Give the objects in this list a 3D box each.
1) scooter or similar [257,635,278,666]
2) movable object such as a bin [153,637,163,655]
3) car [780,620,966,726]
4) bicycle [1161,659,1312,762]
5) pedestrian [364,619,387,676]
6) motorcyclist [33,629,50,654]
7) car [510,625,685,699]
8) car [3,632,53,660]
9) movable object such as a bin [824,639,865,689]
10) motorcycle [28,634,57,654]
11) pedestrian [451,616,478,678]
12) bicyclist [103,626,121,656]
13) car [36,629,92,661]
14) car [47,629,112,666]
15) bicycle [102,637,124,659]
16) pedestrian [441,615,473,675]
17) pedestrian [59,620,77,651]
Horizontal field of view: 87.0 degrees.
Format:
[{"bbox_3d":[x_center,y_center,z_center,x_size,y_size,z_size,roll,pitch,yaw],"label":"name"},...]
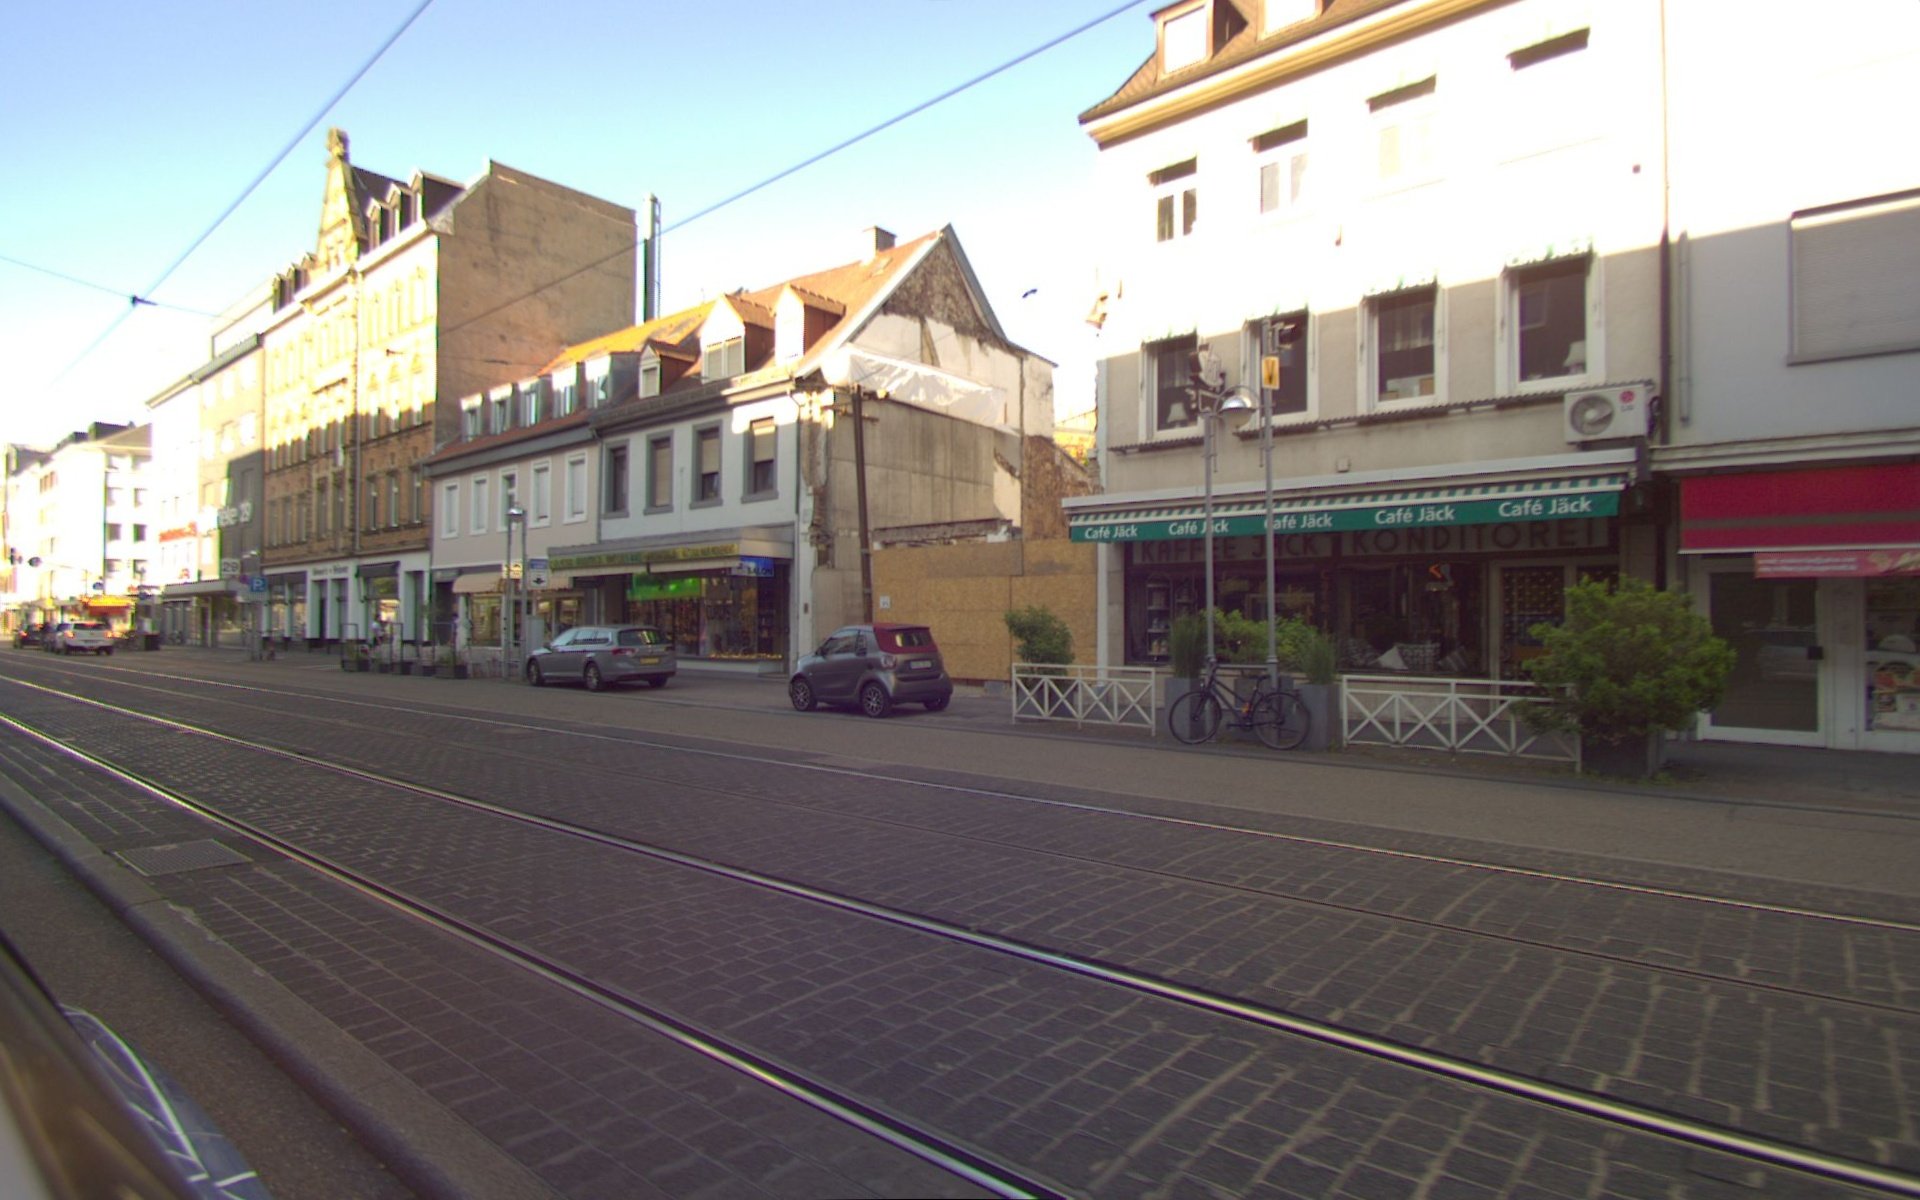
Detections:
[{"bbox_3d":[-28.346,2.070,41.413,1.201,1.232,0.399,-1,0,41],"label":"scooter or similar"},{"bbox_3d":[-44.429,2.538,56.053,0.467,0.955,0.321,-1,-2,41],"label":"movable object such as a bin"},{"bbox_3d":[-1.546,1.183,17.586,2.889,1.616,1.679,-1,0,41],"label":"car"},{"bbox_3d":[3.342,1.301,12.326,1.715,1.098,0.513,-1,0,41],"label":"bicycle"},{"bbox_3d":[-19.383,1.566,33.560,0.572,1.819,0.660,-1,0,-38],"label":"pedestrian"},{"bbox_3d":[-50.120,2.256,55.222,0.655,1.313,0.533,-1,-3,41],"label":"motorcyclist"},{"bbox_3d":[-8.615,1.378,23.849,4.760,1.526,1.798,-1,-1,41],"label":"car"},{"bbox_3d":[-54.084,2.662,58.727,3.998,1.542,1.645,-1,-3,41],"label":"car"},{"bbox_3d":[-2.707,1.489,23.675,0.696,1.102,0.653,-1,0,40],"label":"movable object such as a bin"},{"bbox_3d":[-50.115,2.399,55.265,1.934,1.000,0.895,-1,-3,41],"label":"motorcycle"},{"bbox_3d":[-15.429,1.450,31.534,0.647,1.863,0.584,-1,0,-19],"label":"pedestrian"},{"bbox_3d":[-45.940,2.228,54.826,0.861,1.558,0.569,-1,0,41],"label":"bicyclist"},{"bbox_3d":[-46.871,2.328,52.902,3.998,1.542,1.645,-1,-3,41],"label":"car"},{"bbox_3d":[-41.646,2.214,47.841,3.674,1.647,1.779,-1,-2,41],"label":"car"},{"bbox_3d":[-45.811,2.584,54.722,2.099,1.157,0.603,-1,0,41],"label":"bicycle"},{"bbox_3d":[-15.151,1.343,30.475,0.580,1.775,0.651,-1,0,33],"label":"pedestrian"},{"bbox_3d":[-55.132,2.171,62.541,0.635,1.855,0.696,-1,0,40],"label":"pedestrian"}]
